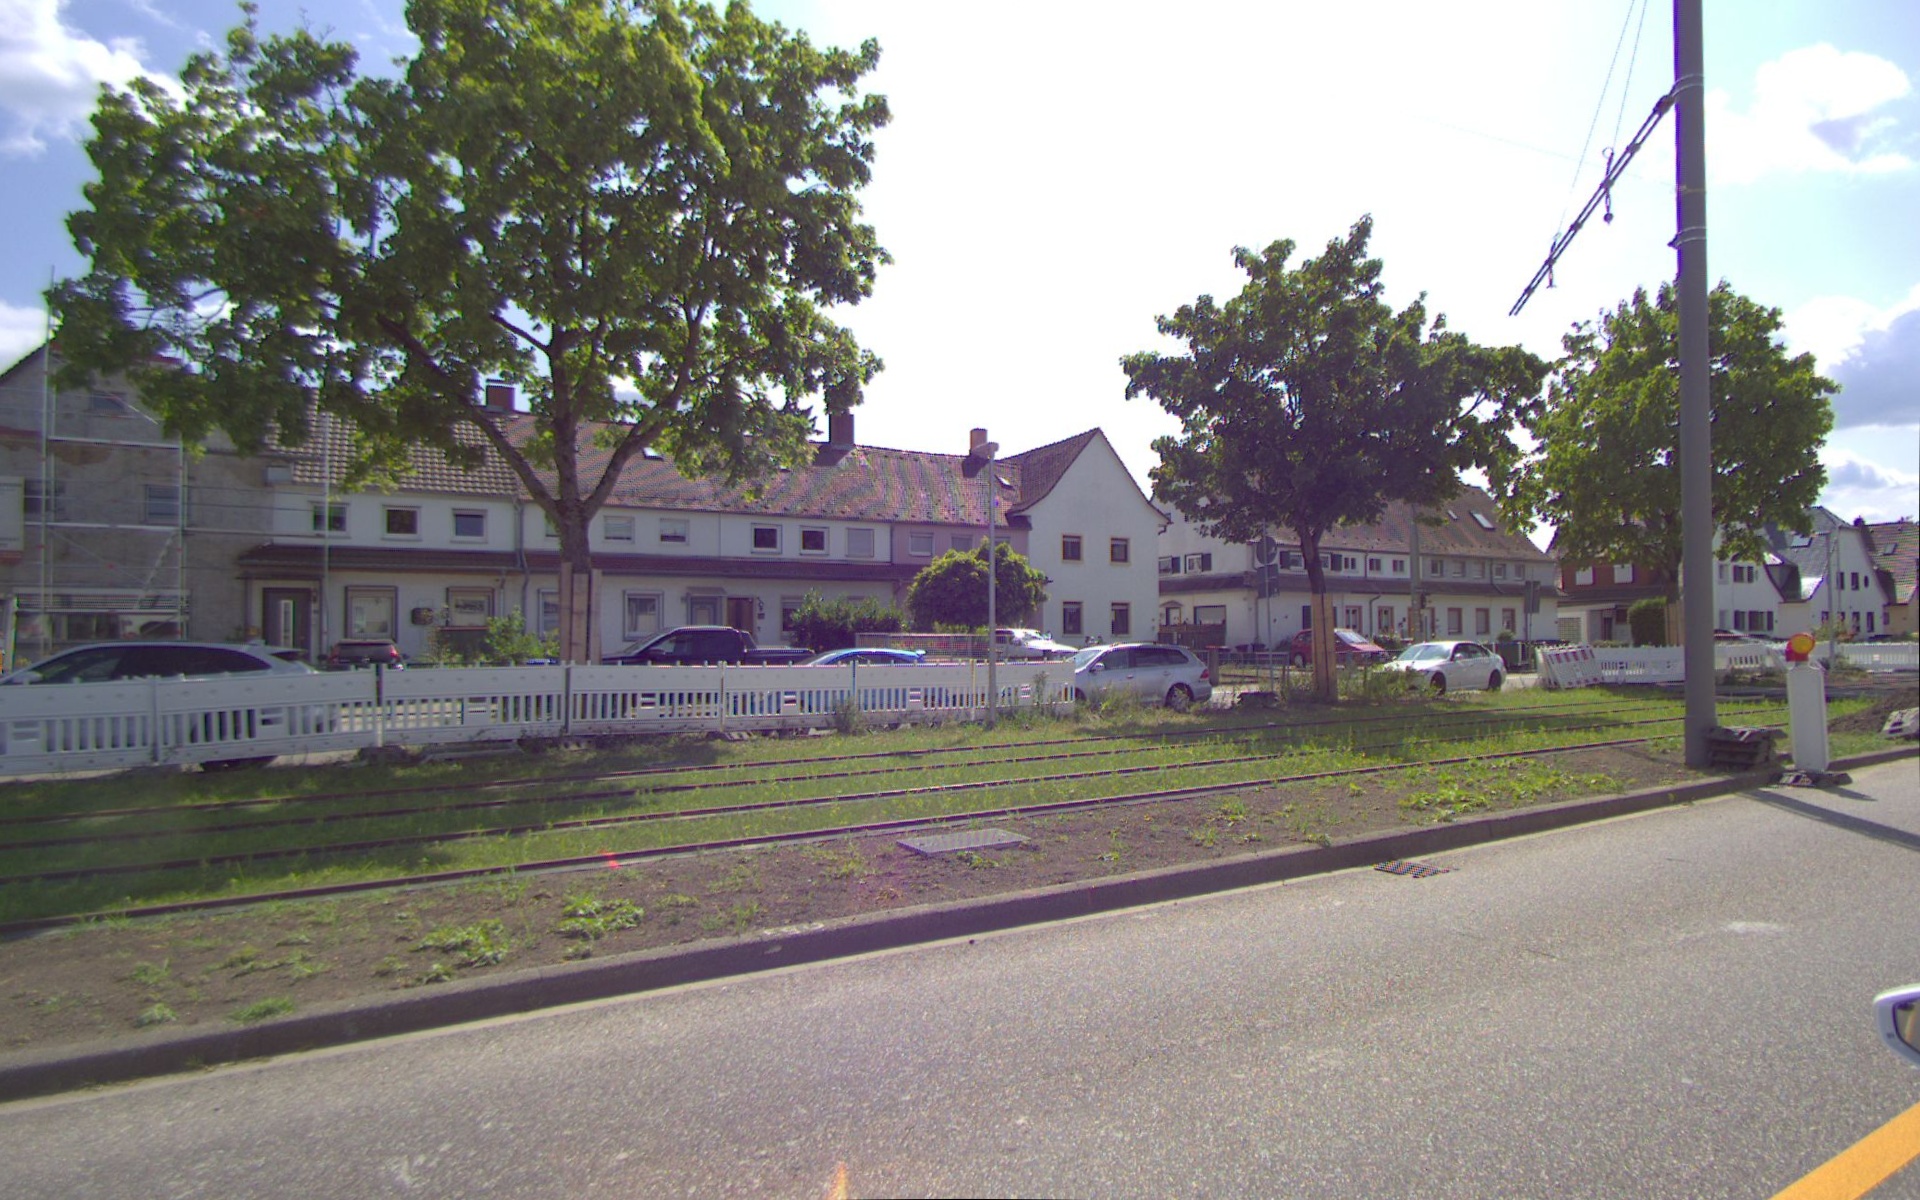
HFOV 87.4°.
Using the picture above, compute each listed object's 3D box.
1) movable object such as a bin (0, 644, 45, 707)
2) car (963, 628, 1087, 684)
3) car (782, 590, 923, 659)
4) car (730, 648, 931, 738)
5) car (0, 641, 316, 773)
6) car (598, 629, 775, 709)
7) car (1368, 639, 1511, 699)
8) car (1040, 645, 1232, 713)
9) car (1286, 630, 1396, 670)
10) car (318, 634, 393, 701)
[{"bbox_3d":[-20.337,1.569,20.866,1.864,1.214,1.454,1,-1,30],"label":"movable object such as a bin"},{"bbox_3d":[2.183,1.875,34.818,1.784,1.708,4.370,2,-1,-40],"label":"car"},{"bbox_3d":[-3.393,0.775,31.850,3.954,2.040,1.983,2,-1,-31],"label":"car"},{"bbox_3d":[-2.163,1.511,17.020,3.136,1.342,1.333,1,-2,-33],"label":"car"},{"bbox_3d":[-9.785,1.245,12.339,3.078,1.395,1.344,0,-3,-31],"label":"car"},{"bbox_3d":[-5.598,1.362,20.623,3.272,1.515,1.376,1,-2,-31],"label":"car"},{"bbox_3d":[12.456,1.739,26.018,4.211,1.395,1.530,1,-2,-36],"label":"car"},{"bbox_3d":[3.530,1.518,19.987,3.704,1.192,1.496,1,-2,-31],"label":"car"},{"bbox_3d":[15.383,2.000,40.707,1.706,1.529,3.967,1,-3,-31],"label":"car"},{"bbox_3d":[-14.073,1.537,23.489,1.269,1.398,2.796,1,-1,-27],"label":"car"}]
